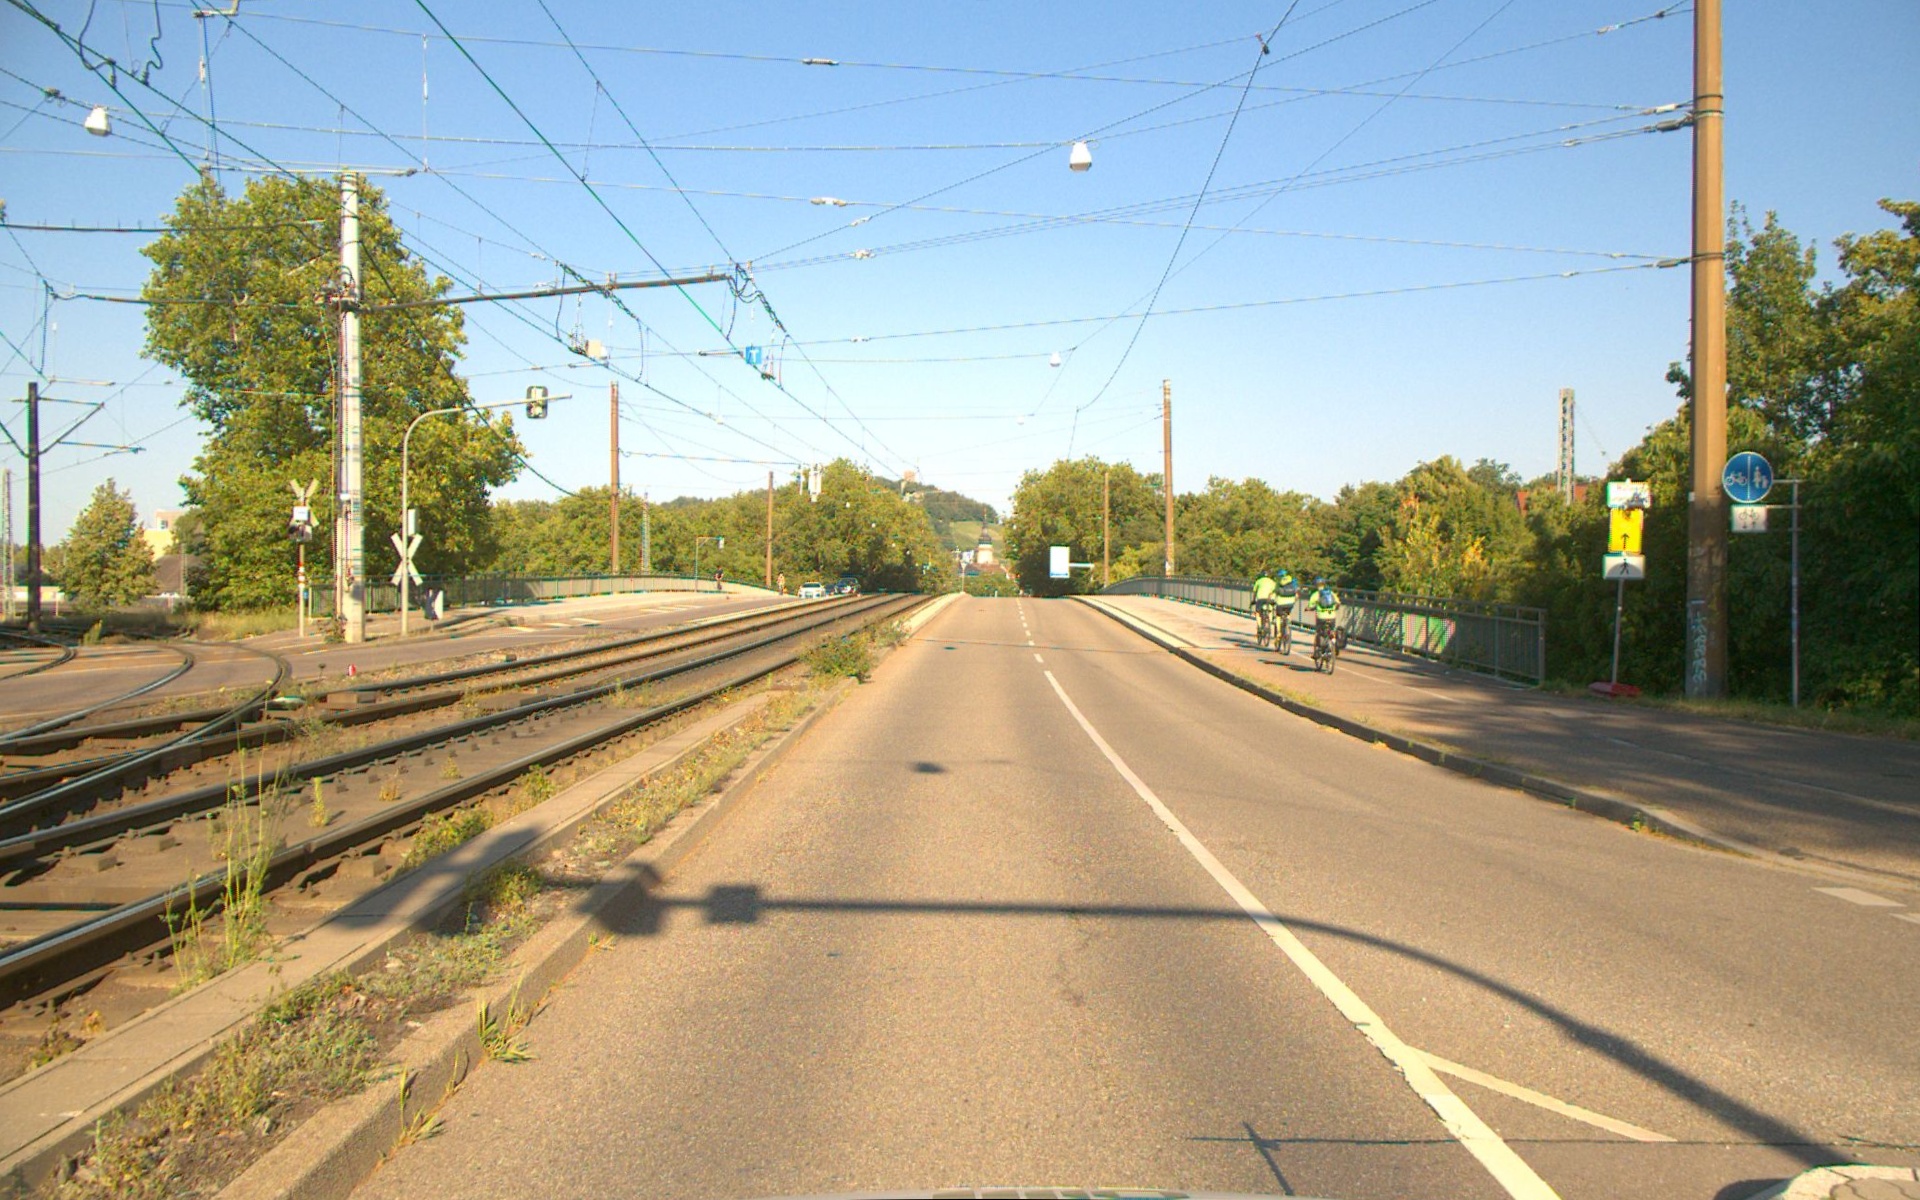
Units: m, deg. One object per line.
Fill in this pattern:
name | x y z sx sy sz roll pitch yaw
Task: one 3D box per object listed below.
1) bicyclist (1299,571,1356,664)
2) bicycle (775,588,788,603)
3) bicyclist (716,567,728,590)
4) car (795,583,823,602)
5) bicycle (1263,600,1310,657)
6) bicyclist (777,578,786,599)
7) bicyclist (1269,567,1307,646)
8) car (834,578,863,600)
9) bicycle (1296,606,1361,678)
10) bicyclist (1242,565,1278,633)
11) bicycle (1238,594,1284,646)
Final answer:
bicyclist | 6.437 0.296 28.992 0.795 1.589 0.897 1 1 1
bicycle | -14.386 -0.375 133.106 0.612 1.142 2.261 1 0 4
bicyclist | -15.448 -1.390 107.465 0.612 1.457 0.968 1 0 0
car | -11.717 -0.586 128.582 1.649 1.380 4.921 1 0 1
bicycle | 6.831 0.578 34.687 0.612 1.142 2.042 1 0 1
bicyclist | -14.374 -0.925 133.185 0.612 1.661 0.936 1 0 4
bicyclist | 6.873 0.133 34.702 0.612 1.620 0.931 1 0 1
car | -8.252 -0.821 122.636 1.810 1.528 4.220 1 0 1
bicycle | 6.442 0.712 29.018 0.669 1.142 2.217 1 2 1
bicyclist | 6.855 -0.030 37.815 0.612 1.534 1.006 1 0 0
bicycle | 6.853 0.440 37.779 0.612 1.142 2.259 1 1 0
